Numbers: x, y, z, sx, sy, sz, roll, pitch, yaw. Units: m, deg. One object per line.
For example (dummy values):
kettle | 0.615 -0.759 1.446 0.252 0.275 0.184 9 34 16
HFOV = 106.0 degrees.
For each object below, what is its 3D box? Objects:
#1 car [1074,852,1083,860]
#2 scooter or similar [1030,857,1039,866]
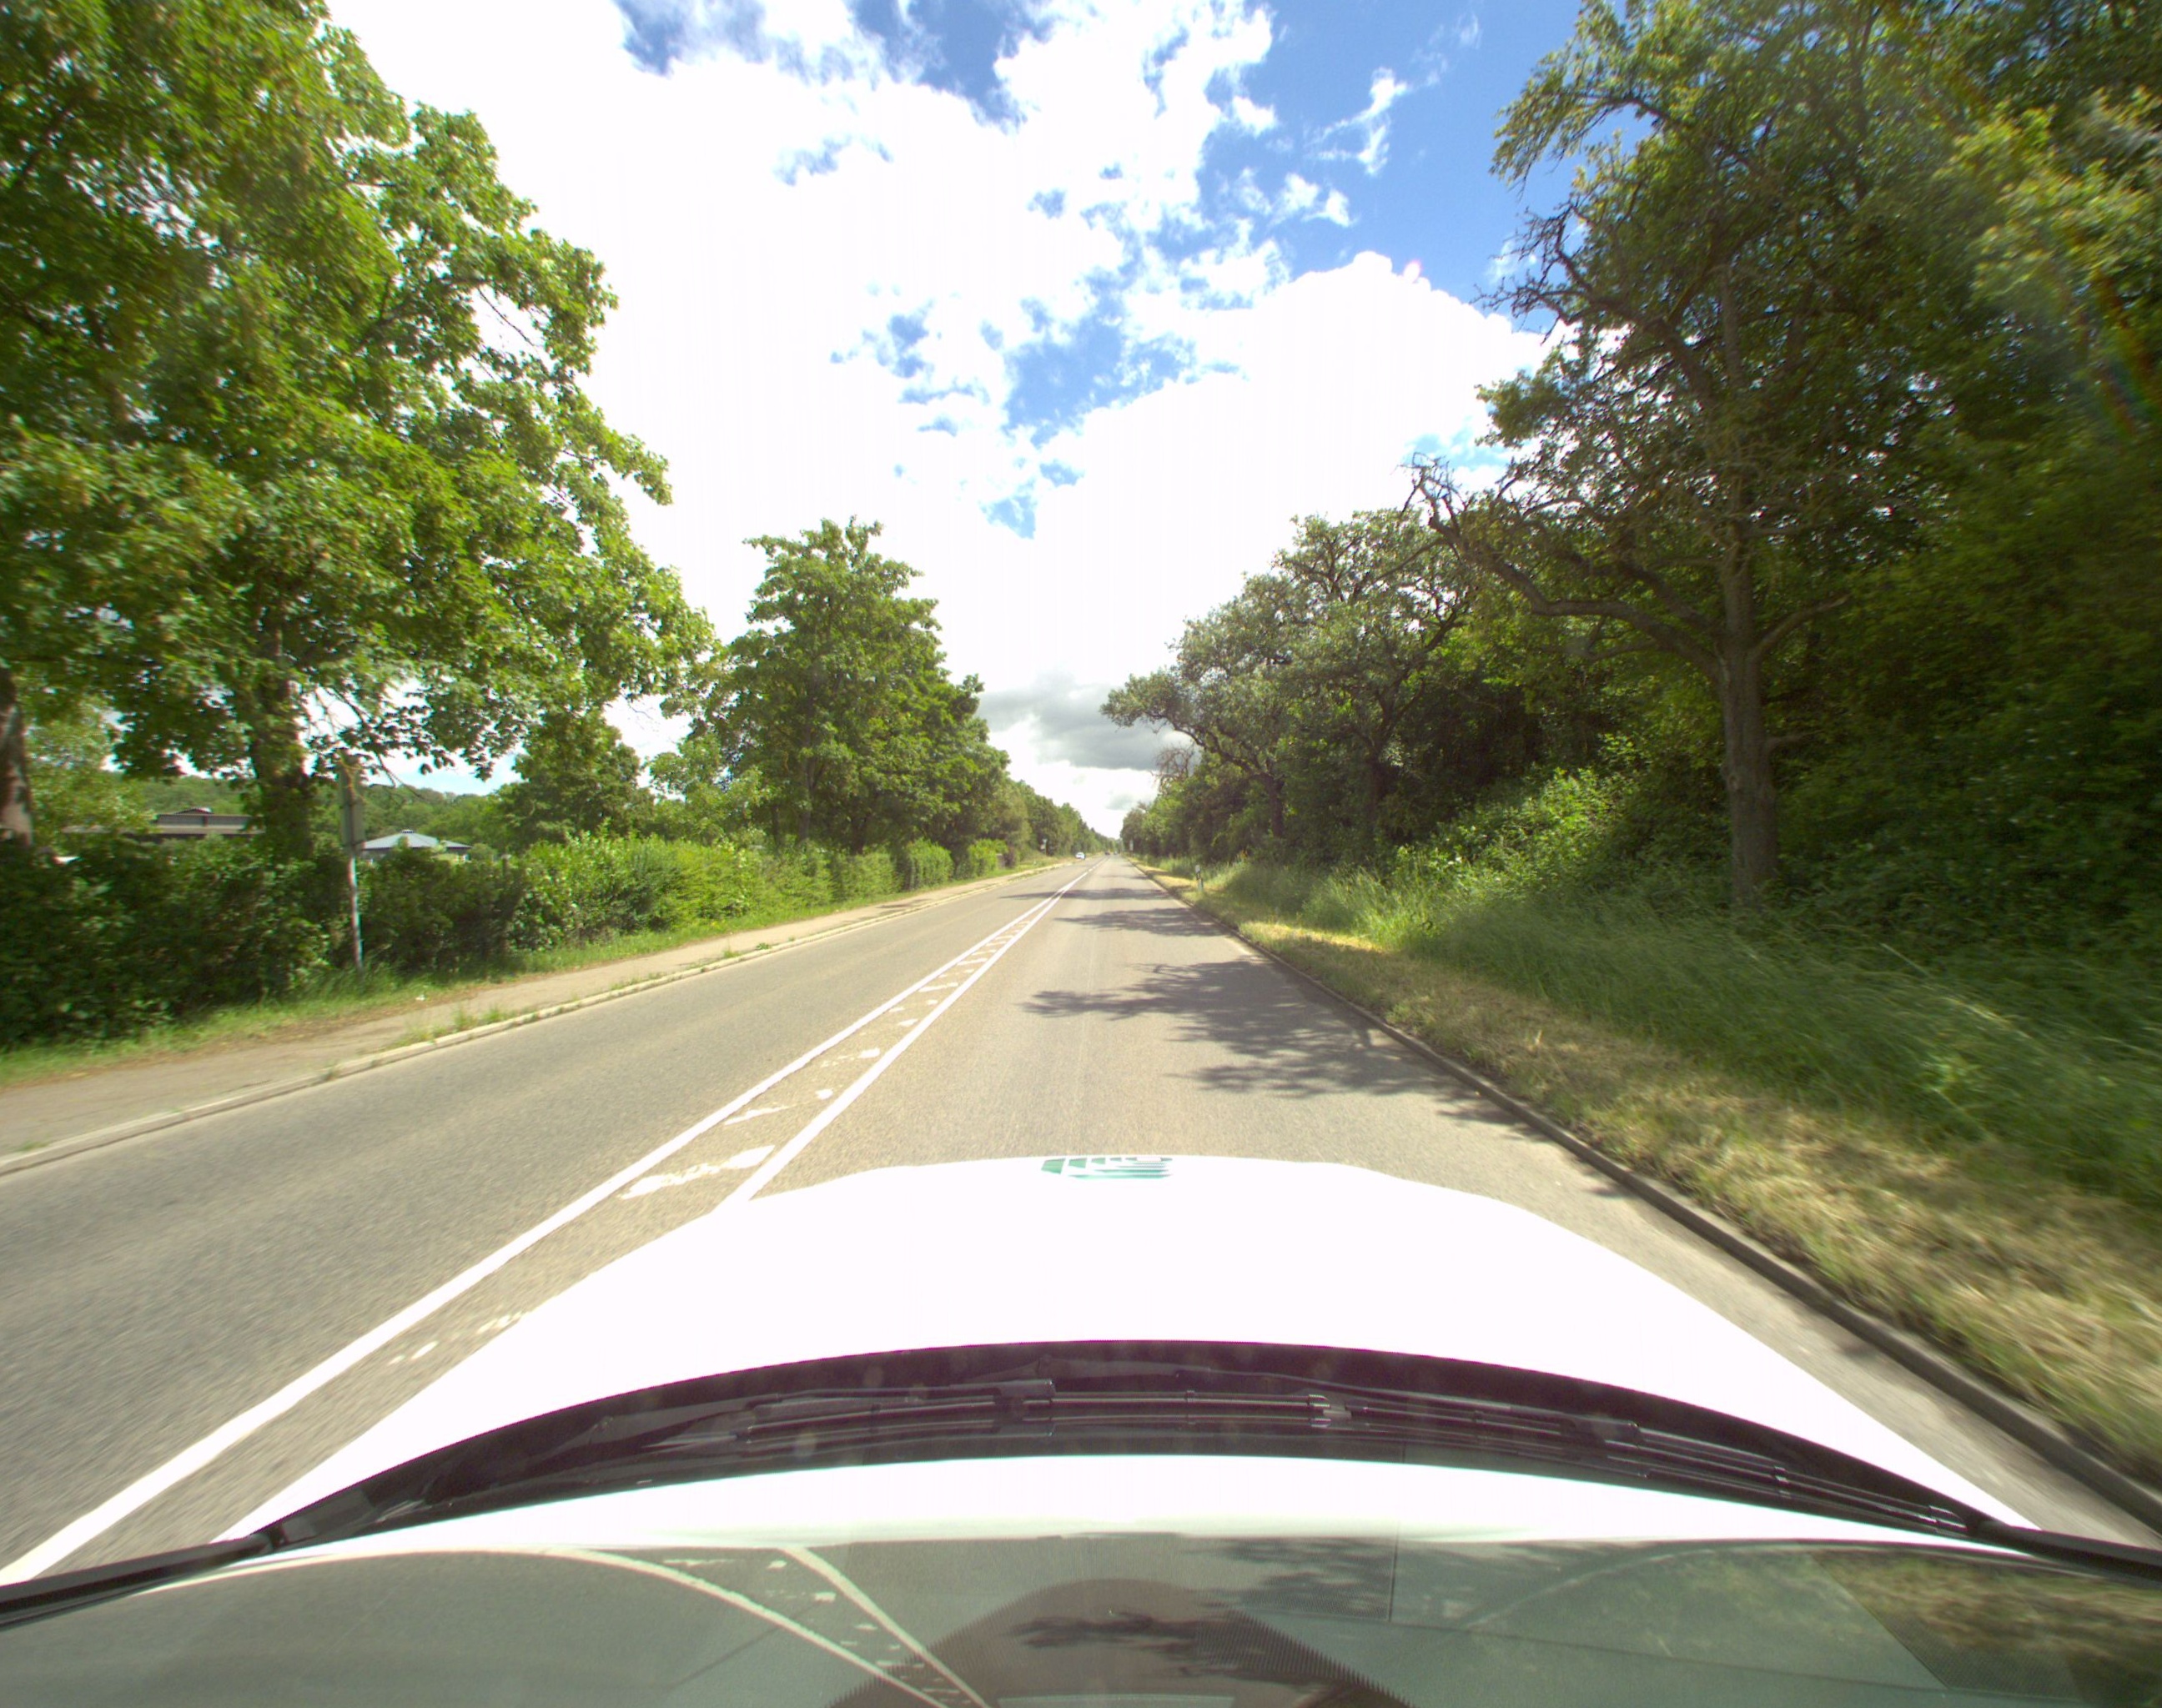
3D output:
car | -0.559 0.471 185.109 1.791 1.543 3.957 -2 -1 2
scooter or similar | -6.349 1.059 110.681 1.334 1.168 0.409 -1 0 43
